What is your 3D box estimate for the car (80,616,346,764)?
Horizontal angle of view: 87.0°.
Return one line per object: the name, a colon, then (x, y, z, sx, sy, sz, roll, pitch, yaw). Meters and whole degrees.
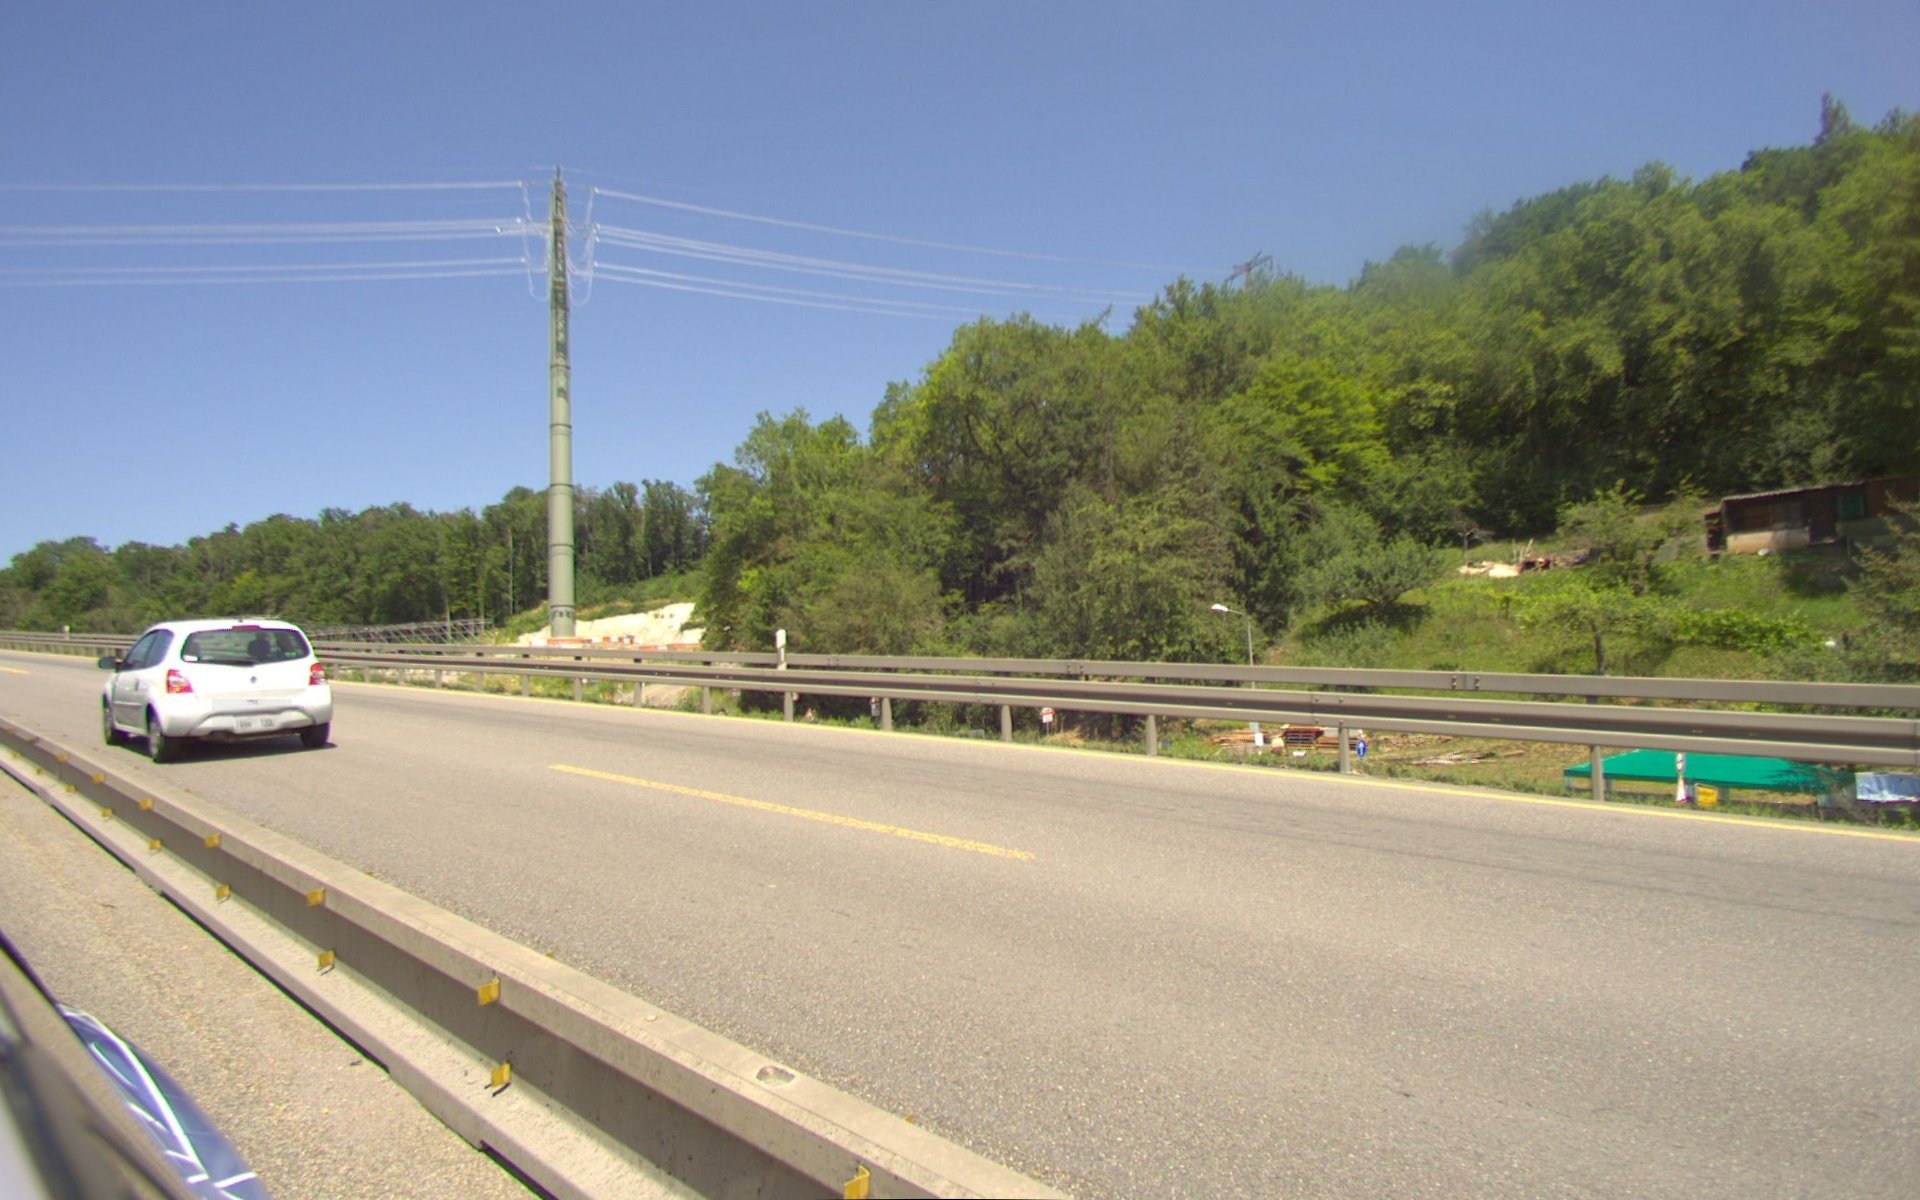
car: (-8.765, 0.944, 11.775, 3.707, 1.437, 1.729, -2, -2, 41)
